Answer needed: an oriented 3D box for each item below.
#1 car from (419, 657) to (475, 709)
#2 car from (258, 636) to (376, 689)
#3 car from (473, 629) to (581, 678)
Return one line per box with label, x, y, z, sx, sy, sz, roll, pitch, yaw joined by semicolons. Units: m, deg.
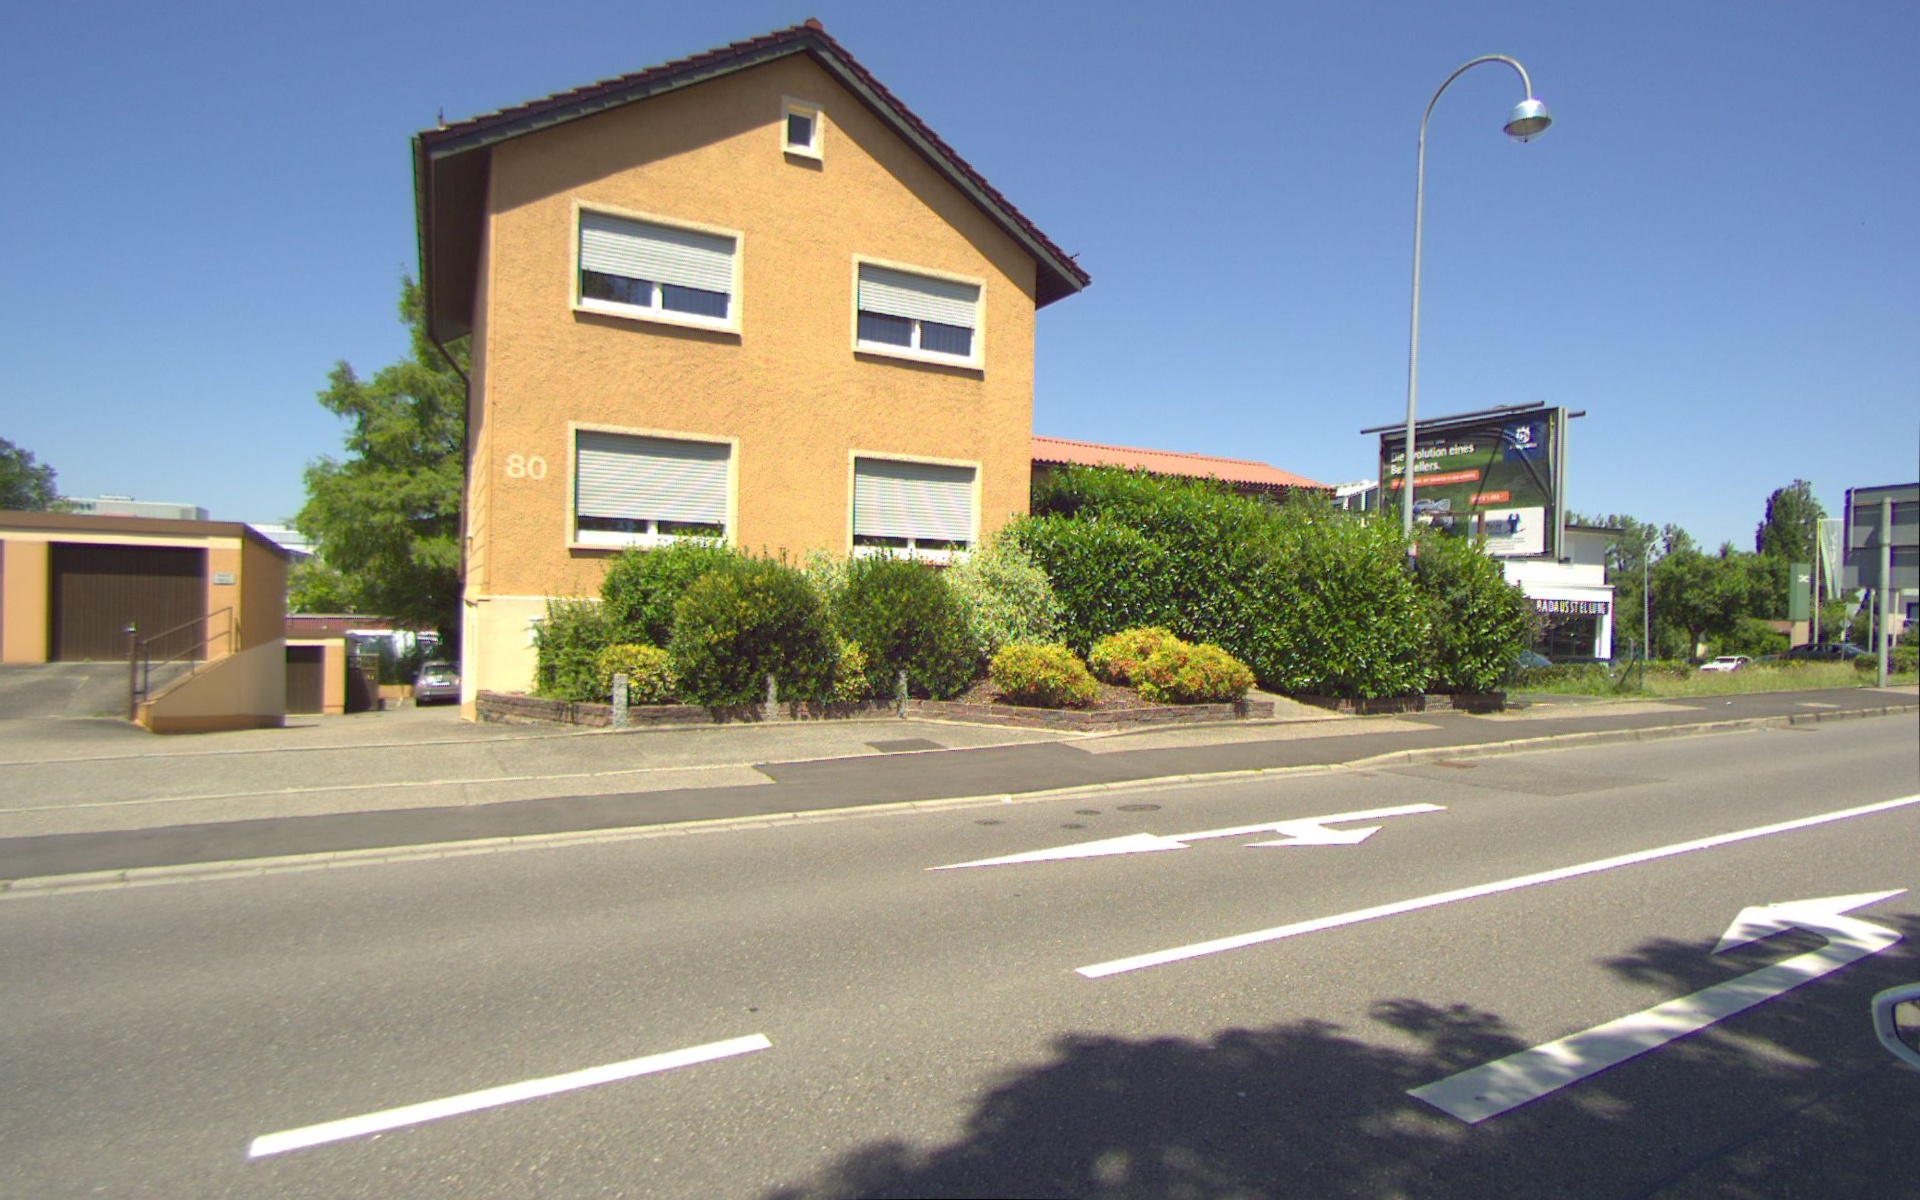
car;-18.454;2.938;36.224;1.707;1.563;3.795;0;0;-27
car;-26.469;2.532;41.494;3.953;2.040;1.984;2;-1;-30
car;-22.066;2.733;51.261;4.853;2.354;1.984;2;-1;-31
